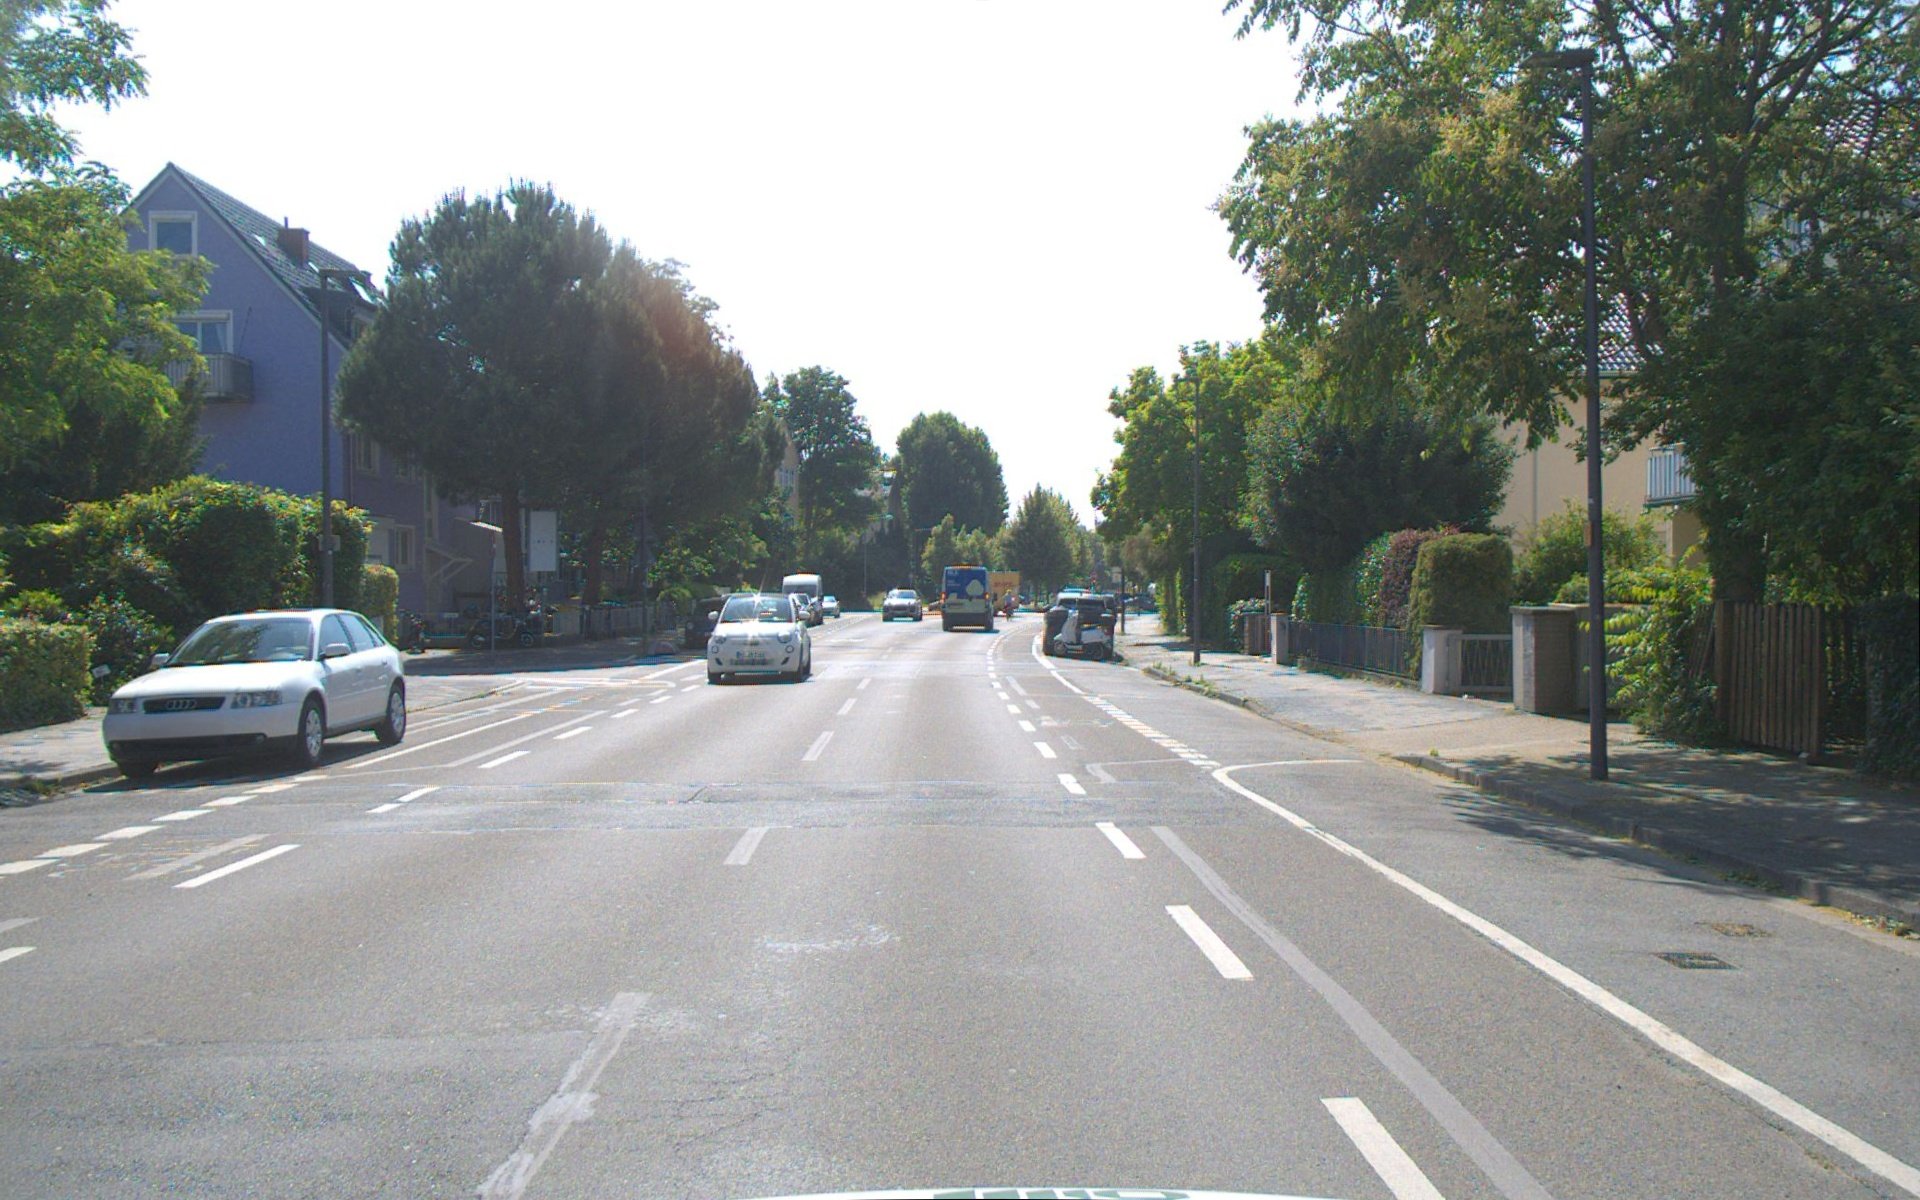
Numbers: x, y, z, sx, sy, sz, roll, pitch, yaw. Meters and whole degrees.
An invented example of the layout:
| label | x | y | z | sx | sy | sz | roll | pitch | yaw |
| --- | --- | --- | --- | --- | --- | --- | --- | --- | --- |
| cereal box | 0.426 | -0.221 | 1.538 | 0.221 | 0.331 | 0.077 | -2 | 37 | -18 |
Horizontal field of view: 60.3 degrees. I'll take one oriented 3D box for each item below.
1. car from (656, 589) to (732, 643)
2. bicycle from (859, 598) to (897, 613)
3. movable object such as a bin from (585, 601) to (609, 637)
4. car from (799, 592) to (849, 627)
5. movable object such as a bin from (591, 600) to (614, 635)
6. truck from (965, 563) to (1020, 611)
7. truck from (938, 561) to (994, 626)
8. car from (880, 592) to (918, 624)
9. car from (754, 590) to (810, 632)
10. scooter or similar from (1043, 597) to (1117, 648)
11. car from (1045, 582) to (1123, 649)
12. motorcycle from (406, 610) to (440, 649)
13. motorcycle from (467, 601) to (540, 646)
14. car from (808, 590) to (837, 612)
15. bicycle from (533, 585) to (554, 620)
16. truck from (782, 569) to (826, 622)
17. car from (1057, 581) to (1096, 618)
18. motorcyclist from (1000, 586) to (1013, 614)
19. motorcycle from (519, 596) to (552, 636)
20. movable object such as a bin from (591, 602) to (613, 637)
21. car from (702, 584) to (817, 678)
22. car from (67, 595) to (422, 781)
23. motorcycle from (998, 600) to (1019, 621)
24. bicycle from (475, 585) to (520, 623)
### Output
| label | x | y | z | sx | sy | sz | roll | pitch | yaw |
| --- | --- | --- | --- | --- | --- | --- | --- | --- | --- |
| car | -8.070 | 0.445 | 50.415 | 1.745 | 1.485 | 4.084 | -2 | 1 | -2 |
| bicycle | -6.063 | 0.409 | 122.203 | 2.638 | 1.066 | 1.024 | -1 | 0 | -10 |
| movable object such as a bin | -11.552 | 0.601 | 52.640 | 0.592 | 1.131 | 0.663 | -1 | 0 | 4 |
| car | -6.224 | 0.435 | 75.919 | 1.796 | 1.522 | 3.655 | -1 | 1 | 3 |
| movable object such as a bin | -11.502 | 0.567 | 53.208 | 0.592 | 1.131 | 0.431 | -1 | 0 | 4 |
| truck | 2.126 | -0.836 | 109.003 | 2.177 | 2.998 | 5.664 | -1 | 0 | -14 |
| truck | 0.292 | -0.265 | 69.657 | 2.225 | 2.616 | 4.393 | -1 | 0 | 1 |
| car | -3.374 | 0.438 | 91.793 | 1.953 | 1.686 | 4.604 | -1 | 1 | 0 |
| car | -7.186 | 0.444 | 67.019 | 1.797 | 1.623 | 3.775 | -1 | 0 | 0 |
| scooter or similar | 3.005 | 0.563 | 41.540 | 1.767 | 1.174 | 0.715 | 3 | 0 | 44 |
| car | 3.369 | 0.366 | 44.334 | 1.747 | 1.666 | 4.474 | 1 | 1 | 8 |
| motorcycle | -14.562 | 0.793 | 44.835 | 0.632 | 1.008 | 2.338 | -1 | 0 | -24 |
| motorcycle | -12.598 | 0.654 | 45.665 | 1.800 | 1.202 | 0.643 | -1 | 0 | 4 |
| car | -8.804 | 0.062 | 106.108 | 1.719 | 1.367 | 3.652 | -1 | 1 | -3 |
| bicycle | -14.247 | 0.084 | 56.601 | 0.526 | 1.202 | 1.444 | -1 | 0 | -7 |
| truck | -7.959 | -0.255 | 84.675 | 2.040 | 2.581 | 5.463 | -1 | 1 | -4 |
| car | 5.525 | -0.038 | 78.913 | 1.665 | 1.706 | 3.776 | -1 | 0 | 2 |
| motorcyclist | 2.584 | 0.021 | 91.537 | 0.658 | 1.545 | 0.652 | -1 | 0 | -1 |
| motorcycle | -13.119 | 0.477 | 51.127 | 0.525 | 1.202 | 1.447 | -1 | 0 | 4 |
| movable object such as a bin | -11.466 | 0.620 | 52.956 | 0.532 | 1.131 | 0.585 | -1 | 0 | 4 |
| car | -3.633 | 0.529 | 30.535 | 1.697 | 1.568 | 3.999 | -2 | 0 | -2 |
| car | -6.745 | 0.741 | 16.093 | 1.749 | 1.465 | 3.999 | -3 | 1 | -2 |
| motorcycle | 2.679 | 0.575 | 91.721 | 1.035 | 1.142 | 2.991 | -1 | 0 | -1 |
| bicycle | -15.468 | 0.138 | 55.332 | 0.527 | 1.202 | 1.443 | 0 | 3 | 31 |
